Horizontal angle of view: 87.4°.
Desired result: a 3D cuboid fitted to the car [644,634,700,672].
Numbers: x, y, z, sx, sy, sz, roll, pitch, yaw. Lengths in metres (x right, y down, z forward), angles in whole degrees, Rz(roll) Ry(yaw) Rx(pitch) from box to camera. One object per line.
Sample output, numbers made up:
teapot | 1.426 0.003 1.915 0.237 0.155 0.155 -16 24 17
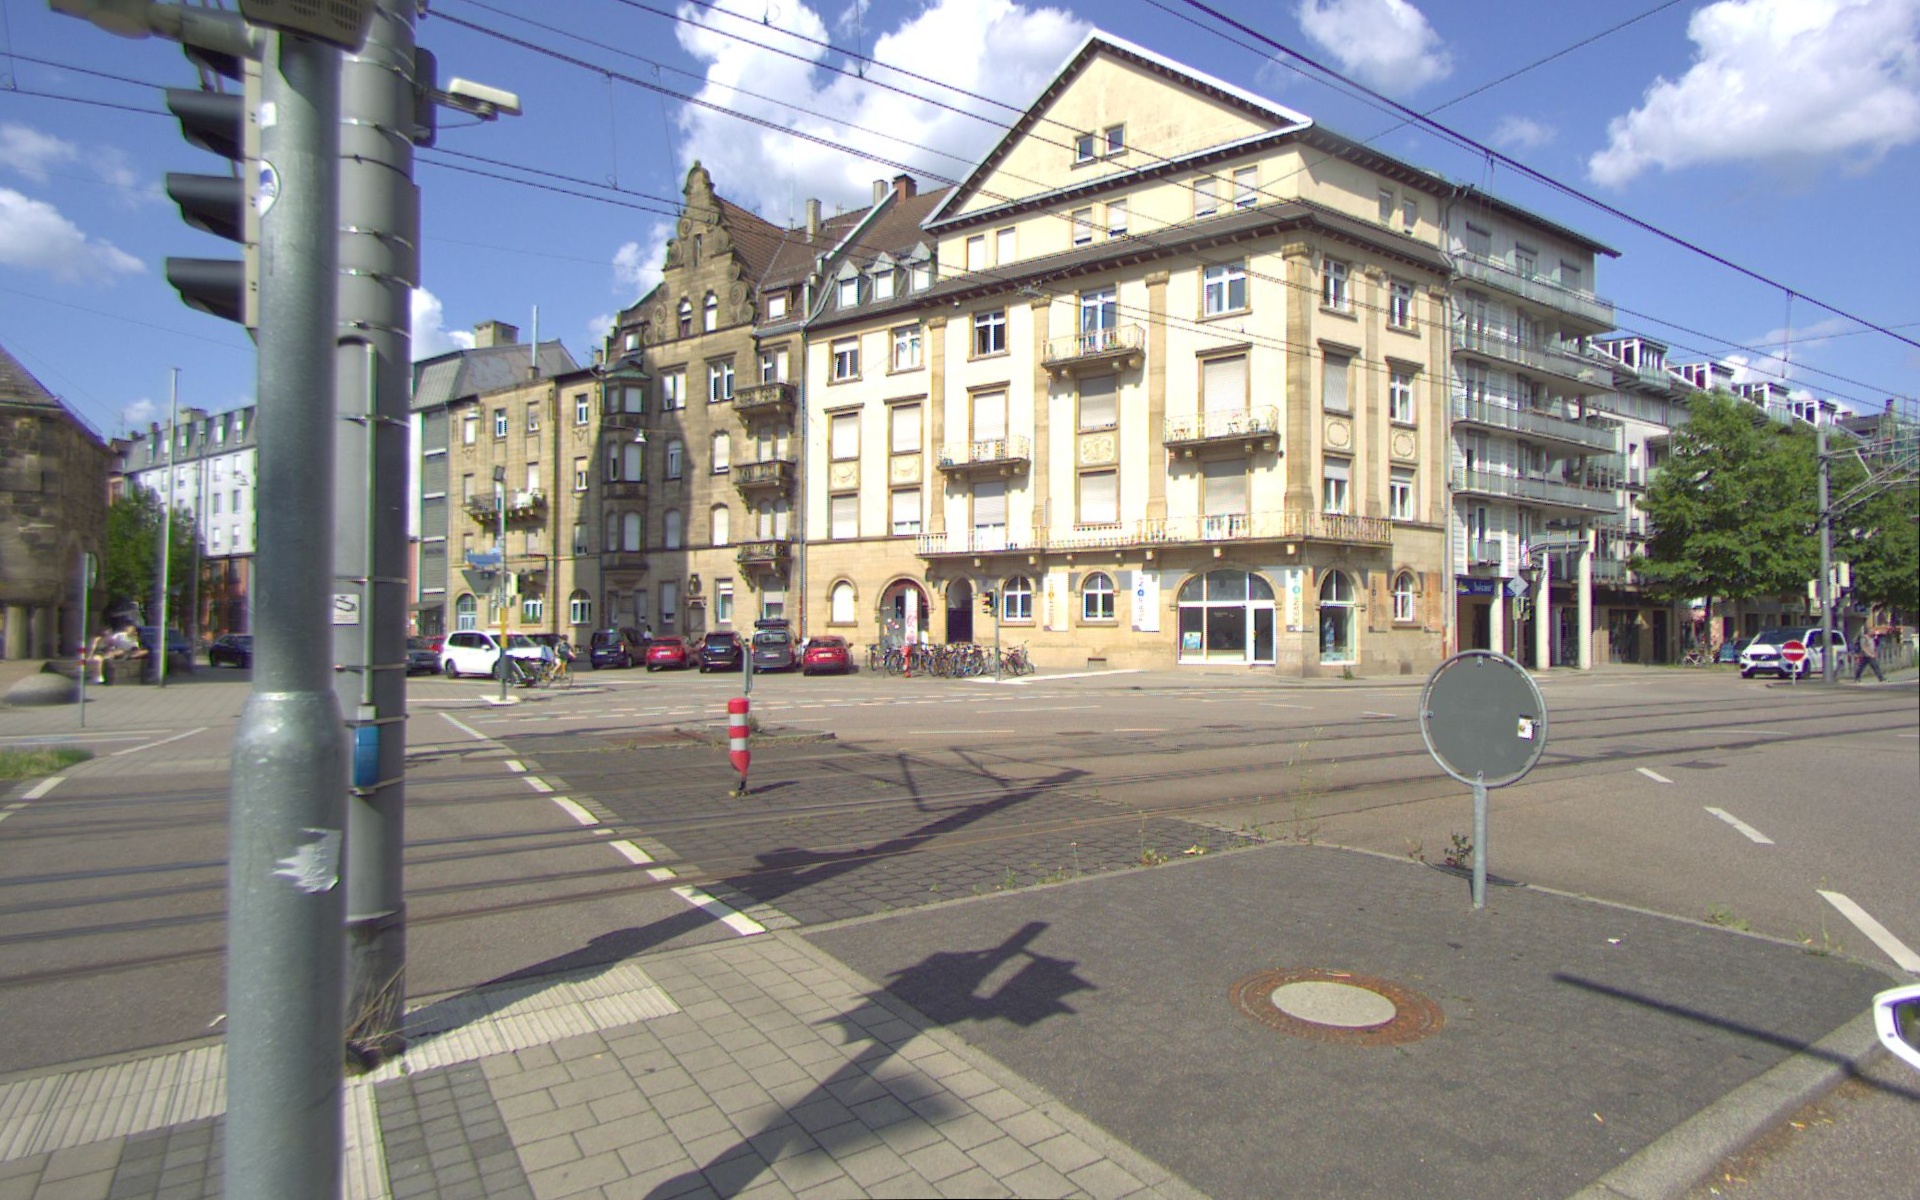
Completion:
car | -12.786 2.325 44.769 1.882 1.463 3.994 -1 0 -9

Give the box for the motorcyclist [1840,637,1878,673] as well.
motorcyclist | 36.366 2.208 40.624 1.076 1.422 0.889 1 -2 -32

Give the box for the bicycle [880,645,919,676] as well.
bicycle | -2.278 2.277 37.870 0.530 1.032 1.925 -1 0 28

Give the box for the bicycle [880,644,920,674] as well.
bicycle | -2.326 2.292 38.955 0.531 1.032 1.924 -1 0 31

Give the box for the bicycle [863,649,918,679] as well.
bicycle | -2.524 2.318 36.254 1.890 1.032 0.540 -1 0 16

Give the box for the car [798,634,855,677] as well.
car | -5.199 2.146 39.568 1.930 1.460 3.998 -1 0 -4

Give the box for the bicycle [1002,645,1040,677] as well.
bicycle | 2.212 2.196 36.221 0.599 1.032 1.873 -1 0 29

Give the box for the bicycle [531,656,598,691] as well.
bicycle | -11.817 2.178 29.964 2.095 1.002 0.651 -1 -2 29

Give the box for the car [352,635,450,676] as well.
car | -21.365 2.097 38.375 3.671 1.469 1.671 -1 -2 32

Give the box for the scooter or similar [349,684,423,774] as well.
scooter or similar | -5.844 1.290 10.215 0.548 0.815 0.832 1 -2 -37

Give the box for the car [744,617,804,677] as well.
car | -7.627 1.873 41.485 1.930 2.111 3.997 -1 3 -4

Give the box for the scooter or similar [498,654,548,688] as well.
scooter or similar | -13.327 2.161 30.649 1.110 0.990 0.889 -1 -2 28

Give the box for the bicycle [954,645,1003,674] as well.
bicycle | 0.701 2.225 38.026 1.897 1.032 0.538 -1 0 36

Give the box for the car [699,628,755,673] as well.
car | -9.881 2.119 42.828 1.678 1.691 3.998 -1 0 -4

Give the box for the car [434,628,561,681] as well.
car | -16.231 1.867 35.190 4.582 1.763 1.811 -1 -2 32

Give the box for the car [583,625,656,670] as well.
car | -15.736 2.174 46.593 1.878 1.849 4.001 -1 0 2

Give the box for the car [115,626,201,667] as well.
car | -35.964 2.053 45.027 4.003 1.686 1.810 0 -1 33

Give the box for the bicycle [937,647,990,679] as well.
bicycle | 0.133 2.251 36.022 1.856 1.032 0.597 -1 0 -32

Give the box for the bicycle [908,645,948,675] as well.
bicycle | -1.218 2.279 38.606 0.531 1.032 1.924 -1 0 31

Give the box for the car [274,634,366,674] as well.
car | -27.101 2.245 42.505 4.001 1.617 1.699 -1 -2 32

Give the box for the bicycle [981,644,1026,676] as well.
bicycle | 1.600 2.179 36.701 0.601 1.032 1.867 -1 0 41

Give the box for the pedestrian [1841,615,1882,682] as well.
pedestrian | 28.039 1.504 31.235 0.695 2.040 0.735 1 -2 -27

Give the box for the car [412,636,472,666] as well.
car | -27.981 2.725 54.355 1.575 1.415 3.571 -1 0 -4

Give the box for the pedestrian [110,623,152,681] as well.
pedestrian | -21.311 1.335 25.839 0.507 1.425 0.559 6 1 11

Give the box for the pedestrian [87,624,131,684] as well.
pedestrian | -21.418 1.353 25.280 0.507 1.425 0.559 6 1 11

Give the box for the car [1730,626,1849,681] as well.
car | 30.983 1.964 37.478 5.116 1.916 1.982 1 -2 -33

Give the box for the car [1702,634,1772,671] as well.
car | 42.206 2.818 54.529 3.958 1.813 1.835 1 0 -34

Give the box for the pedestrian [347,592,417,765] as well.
pedestrian | -6.076 0.809 10.563 0.552 1.755 0.522 1 -2 -38

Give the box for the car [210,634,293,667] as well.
car | -32.113 2.270 45.496 3.794 1.409 1.699 -1 -2 32

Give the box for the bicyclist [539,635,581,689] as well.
bicyclist | -11.948 1.847 30.014 0.905 1.524 0.651 -1 4 29

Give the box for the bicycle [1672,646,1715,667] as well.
bicycle | 36.797 2.844 50.418 0.492 0.999 1.678 1 -2 -35

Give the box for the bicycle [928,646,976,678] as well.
bicycle | -0.289 2.244 36.677 1.915 1.032 0.533 -1 0 -44

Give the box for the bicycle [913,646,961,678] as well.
bicycle | -0.832 2.265 36.916 1.915 1.032 0.533 -1 1 -44

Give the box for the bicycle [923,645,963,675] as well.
bicycle | -0.631 2.270 38.262 0.531 1.032 1.924 -1 0 31
